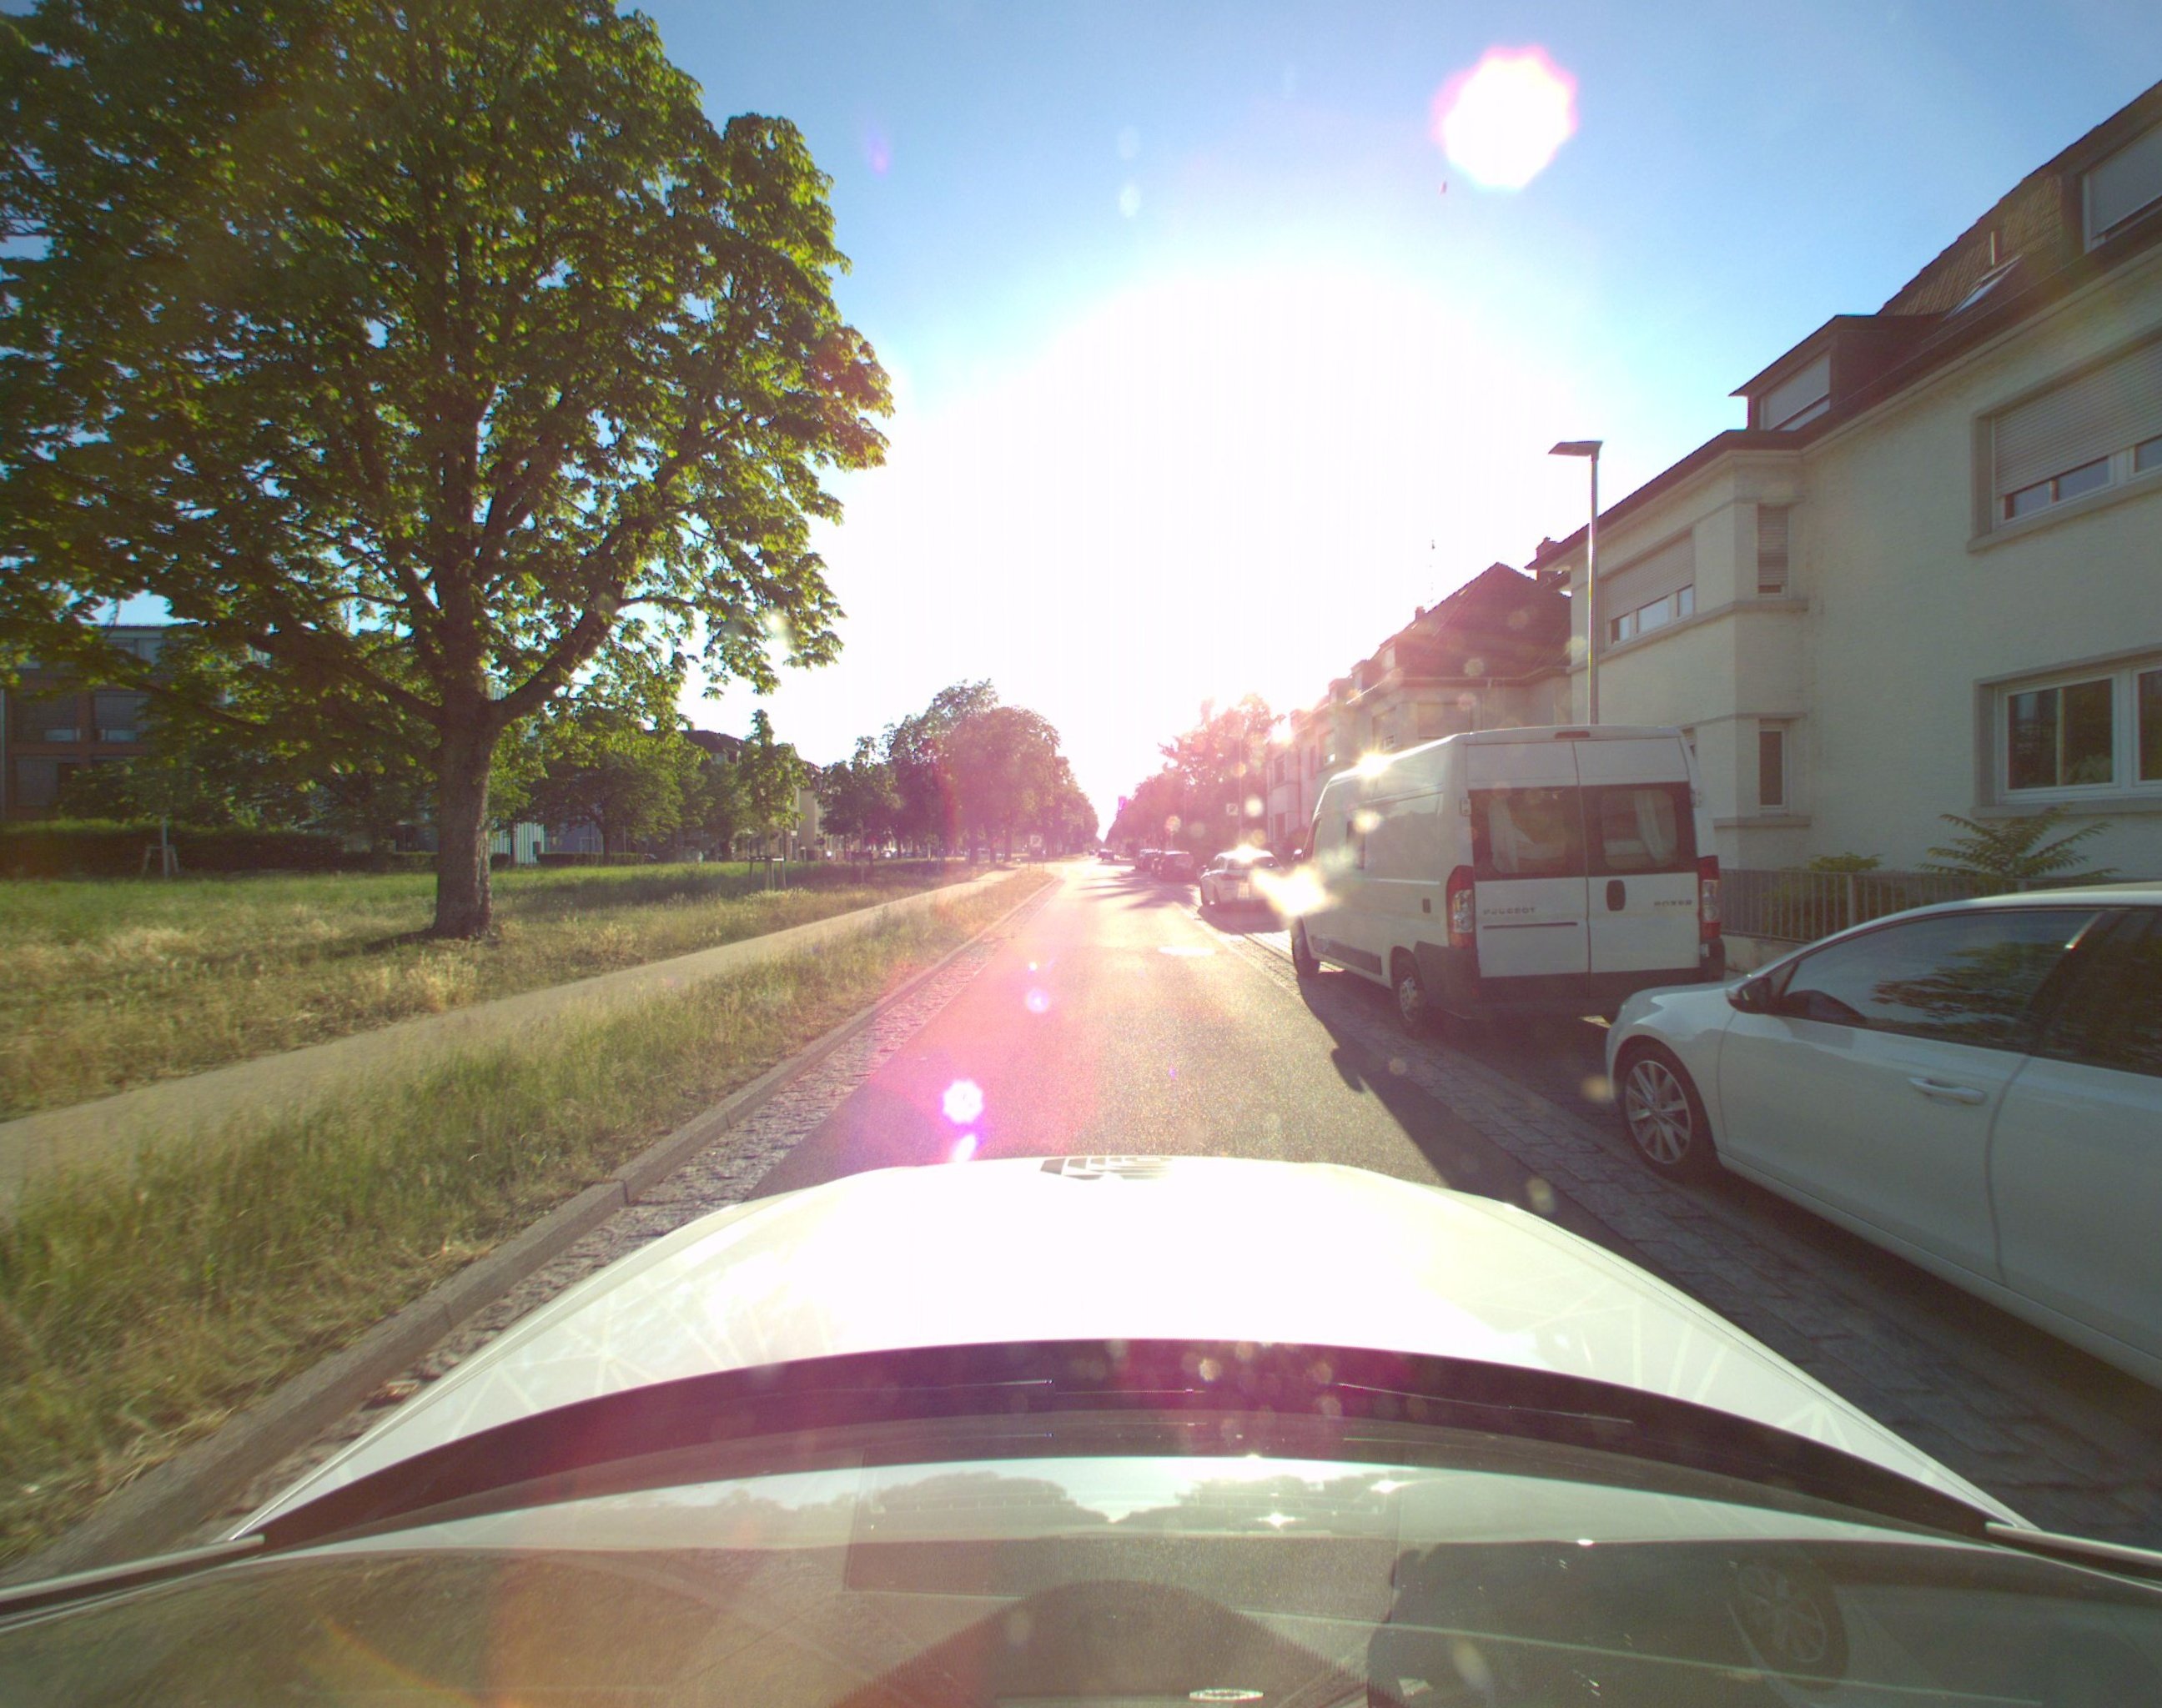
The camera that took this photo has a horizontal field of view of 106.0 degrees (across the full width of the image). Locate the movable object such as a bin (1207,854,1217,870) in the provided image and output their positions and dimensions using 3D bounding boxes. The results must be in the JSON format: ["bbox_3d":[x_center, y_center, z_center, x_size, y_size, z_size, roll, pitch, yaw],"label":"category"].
[{"bbox_3d":[8.671,0.519,53.829,0.506,1.043,0.658,0,0,-4],"label":"movable object such as a bin"}]

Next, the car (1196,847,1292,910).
[{"bbox_3d":[4.214,0.561,21.718,1.776,1.507,4.234,0,1,1],"label":"car"}]

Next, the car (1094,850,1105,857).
[{"bbox_3d":[3.332,-0.102,148.057,1.838,1.393,3.831,0,0,2],"label":"car"}]

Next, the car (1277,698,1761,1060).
[{"bbox_3d":[3.715,0.149,8.427,2.122,2.518,5.509,0,0,1],"label":"car"}]

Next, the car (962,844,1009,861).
[{"bbox_3d":[-9.603,-0.164,82.142,4.421,1.676,1.886,-1,1,-17],"label":"car"}]

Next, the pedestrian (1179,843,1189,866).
[{"bbox_3d":[7.824,0.021,61.661,0.667,1.708,0.622,0,0,-1],"label":"pedestrian"}]

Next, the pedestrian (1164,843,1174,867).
[{"bbox_3d":[6.667,0.071,61.620,0.668,1.865,0.881,0,0,-1],"label":"pedestrian"}]

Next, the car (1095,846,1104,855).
[{"bbox_3d":[4.160,-0.697,185.394,1.986,2.013,3.860,0,0,2],"label":"car"}]

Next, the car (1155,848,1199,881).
[{"bbox_3d":[4.727,0.487,40.449,1.712,1.471,3.984,-3,0,1],"label":"car"}]

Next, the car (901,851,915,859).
[{"bbox_3d":[-32.596,0.223,153.475,1.731,1.427,3.795,0,2,2],"label":"car"}]

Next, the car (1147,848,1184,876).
[{"bbox_3d":[4.703,0.420,45.846,1.740,1.474,4.256,0,0,1],"label":"car"}]

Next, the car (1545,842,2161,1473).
[{"bbox_3d":[3.416,0.718,2.650,1.615,1.482,4.111,-1,0,3],"label":"car"}]

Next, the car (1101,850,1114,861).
[{"bbox_3d":[3.694,0.206,114.051,1.634,1.451,3.311,0,0,4],"label":"car"}]

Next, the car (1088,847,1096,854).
[{"bbox_3d":[3.029,-0.919,230.619,2.126,2.013,3.904,0,0,2],"label":"car"}]

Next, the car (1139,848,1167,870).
[{"bbox_3d":[5.027,0.350,56.981,1.635,1.427,3.937,-2,0,1],"label":"car"}]

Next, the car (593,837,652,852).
[{"bbox_3d":[-45.909,-0.911,81.590,4.760,1.434,1.810,0,-1,-7],"label":"car"}]

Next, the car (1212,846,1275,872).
[{"bbox_3d":[10.280,0.318,51.688,3.621,1.496,1.782,-2,0,1],"label":"car"}]
